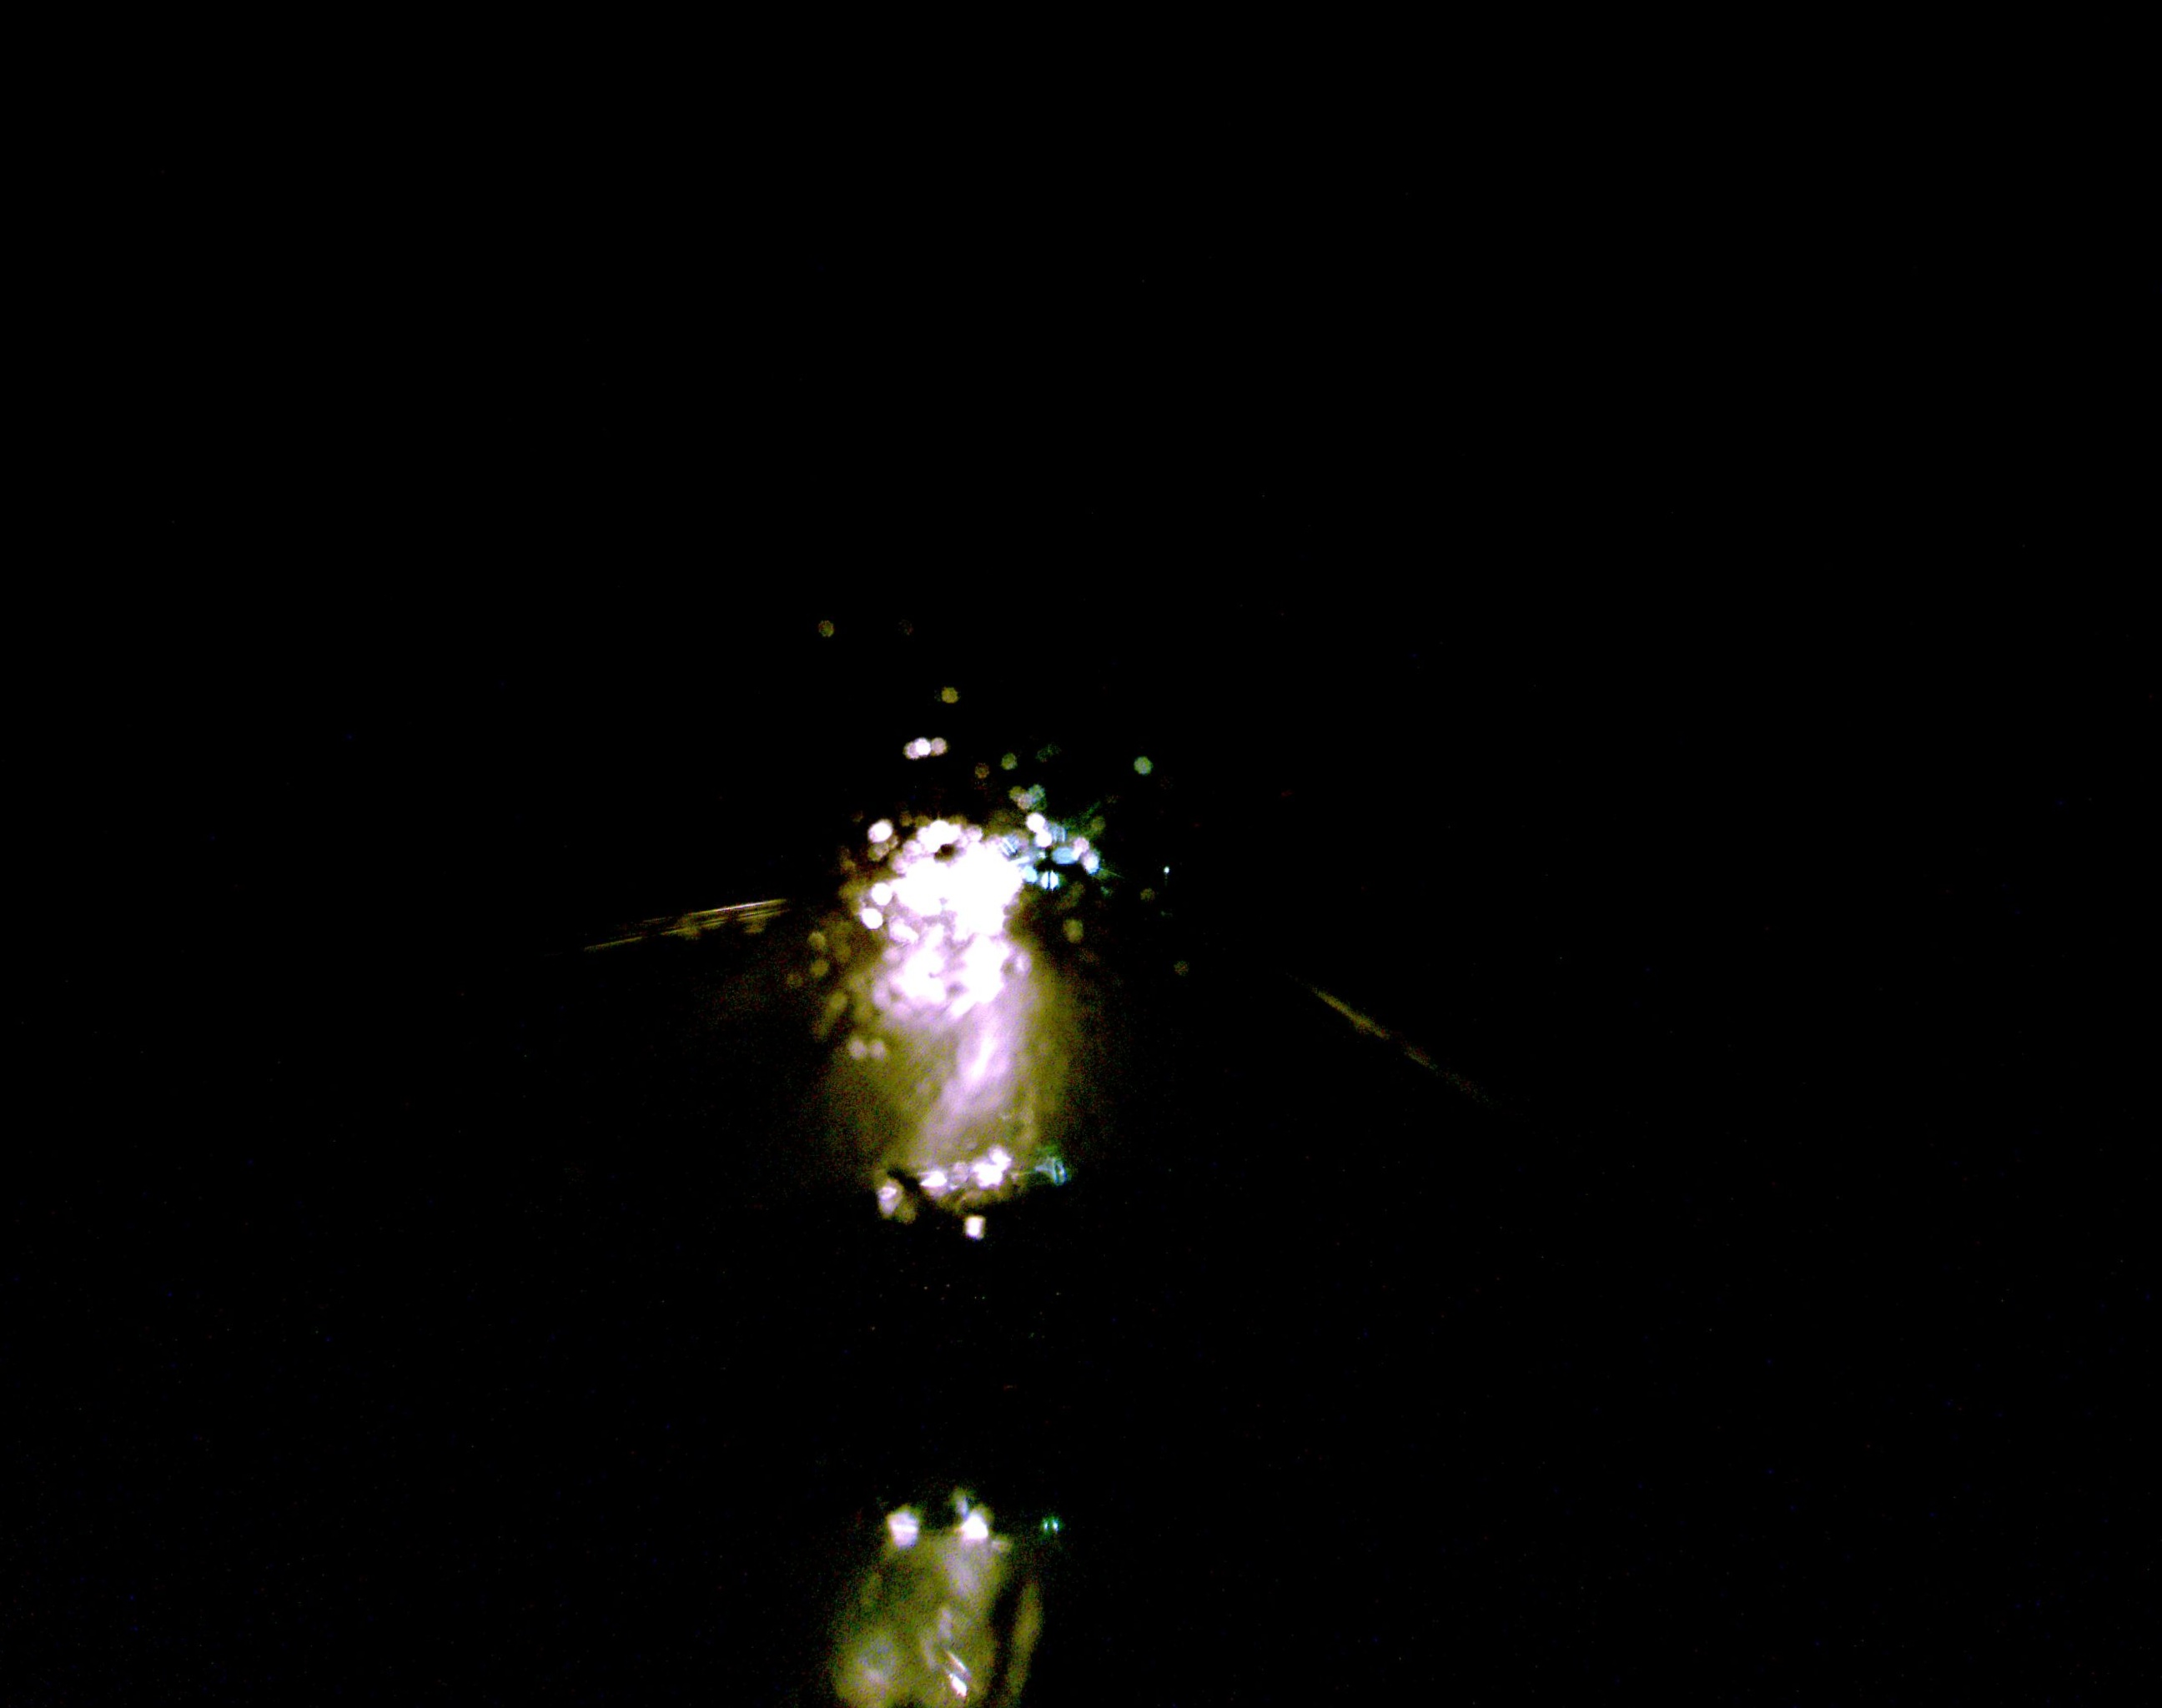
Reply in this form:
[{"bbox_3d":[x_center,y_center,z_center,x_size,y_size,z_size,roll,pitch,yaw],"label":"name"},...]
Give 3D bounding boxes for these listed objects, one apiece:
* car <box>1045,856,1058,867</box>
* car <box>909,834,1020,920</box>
[{"bbox_3d":[-4.268,1.063,119.611,1.824,1.568,3.778,0,0,-1],"label":"car"},{"bbox_3d":[-2.627,0.503,19.319,1.986,1.823,4.001,0,0,1],"label":"car"}]
